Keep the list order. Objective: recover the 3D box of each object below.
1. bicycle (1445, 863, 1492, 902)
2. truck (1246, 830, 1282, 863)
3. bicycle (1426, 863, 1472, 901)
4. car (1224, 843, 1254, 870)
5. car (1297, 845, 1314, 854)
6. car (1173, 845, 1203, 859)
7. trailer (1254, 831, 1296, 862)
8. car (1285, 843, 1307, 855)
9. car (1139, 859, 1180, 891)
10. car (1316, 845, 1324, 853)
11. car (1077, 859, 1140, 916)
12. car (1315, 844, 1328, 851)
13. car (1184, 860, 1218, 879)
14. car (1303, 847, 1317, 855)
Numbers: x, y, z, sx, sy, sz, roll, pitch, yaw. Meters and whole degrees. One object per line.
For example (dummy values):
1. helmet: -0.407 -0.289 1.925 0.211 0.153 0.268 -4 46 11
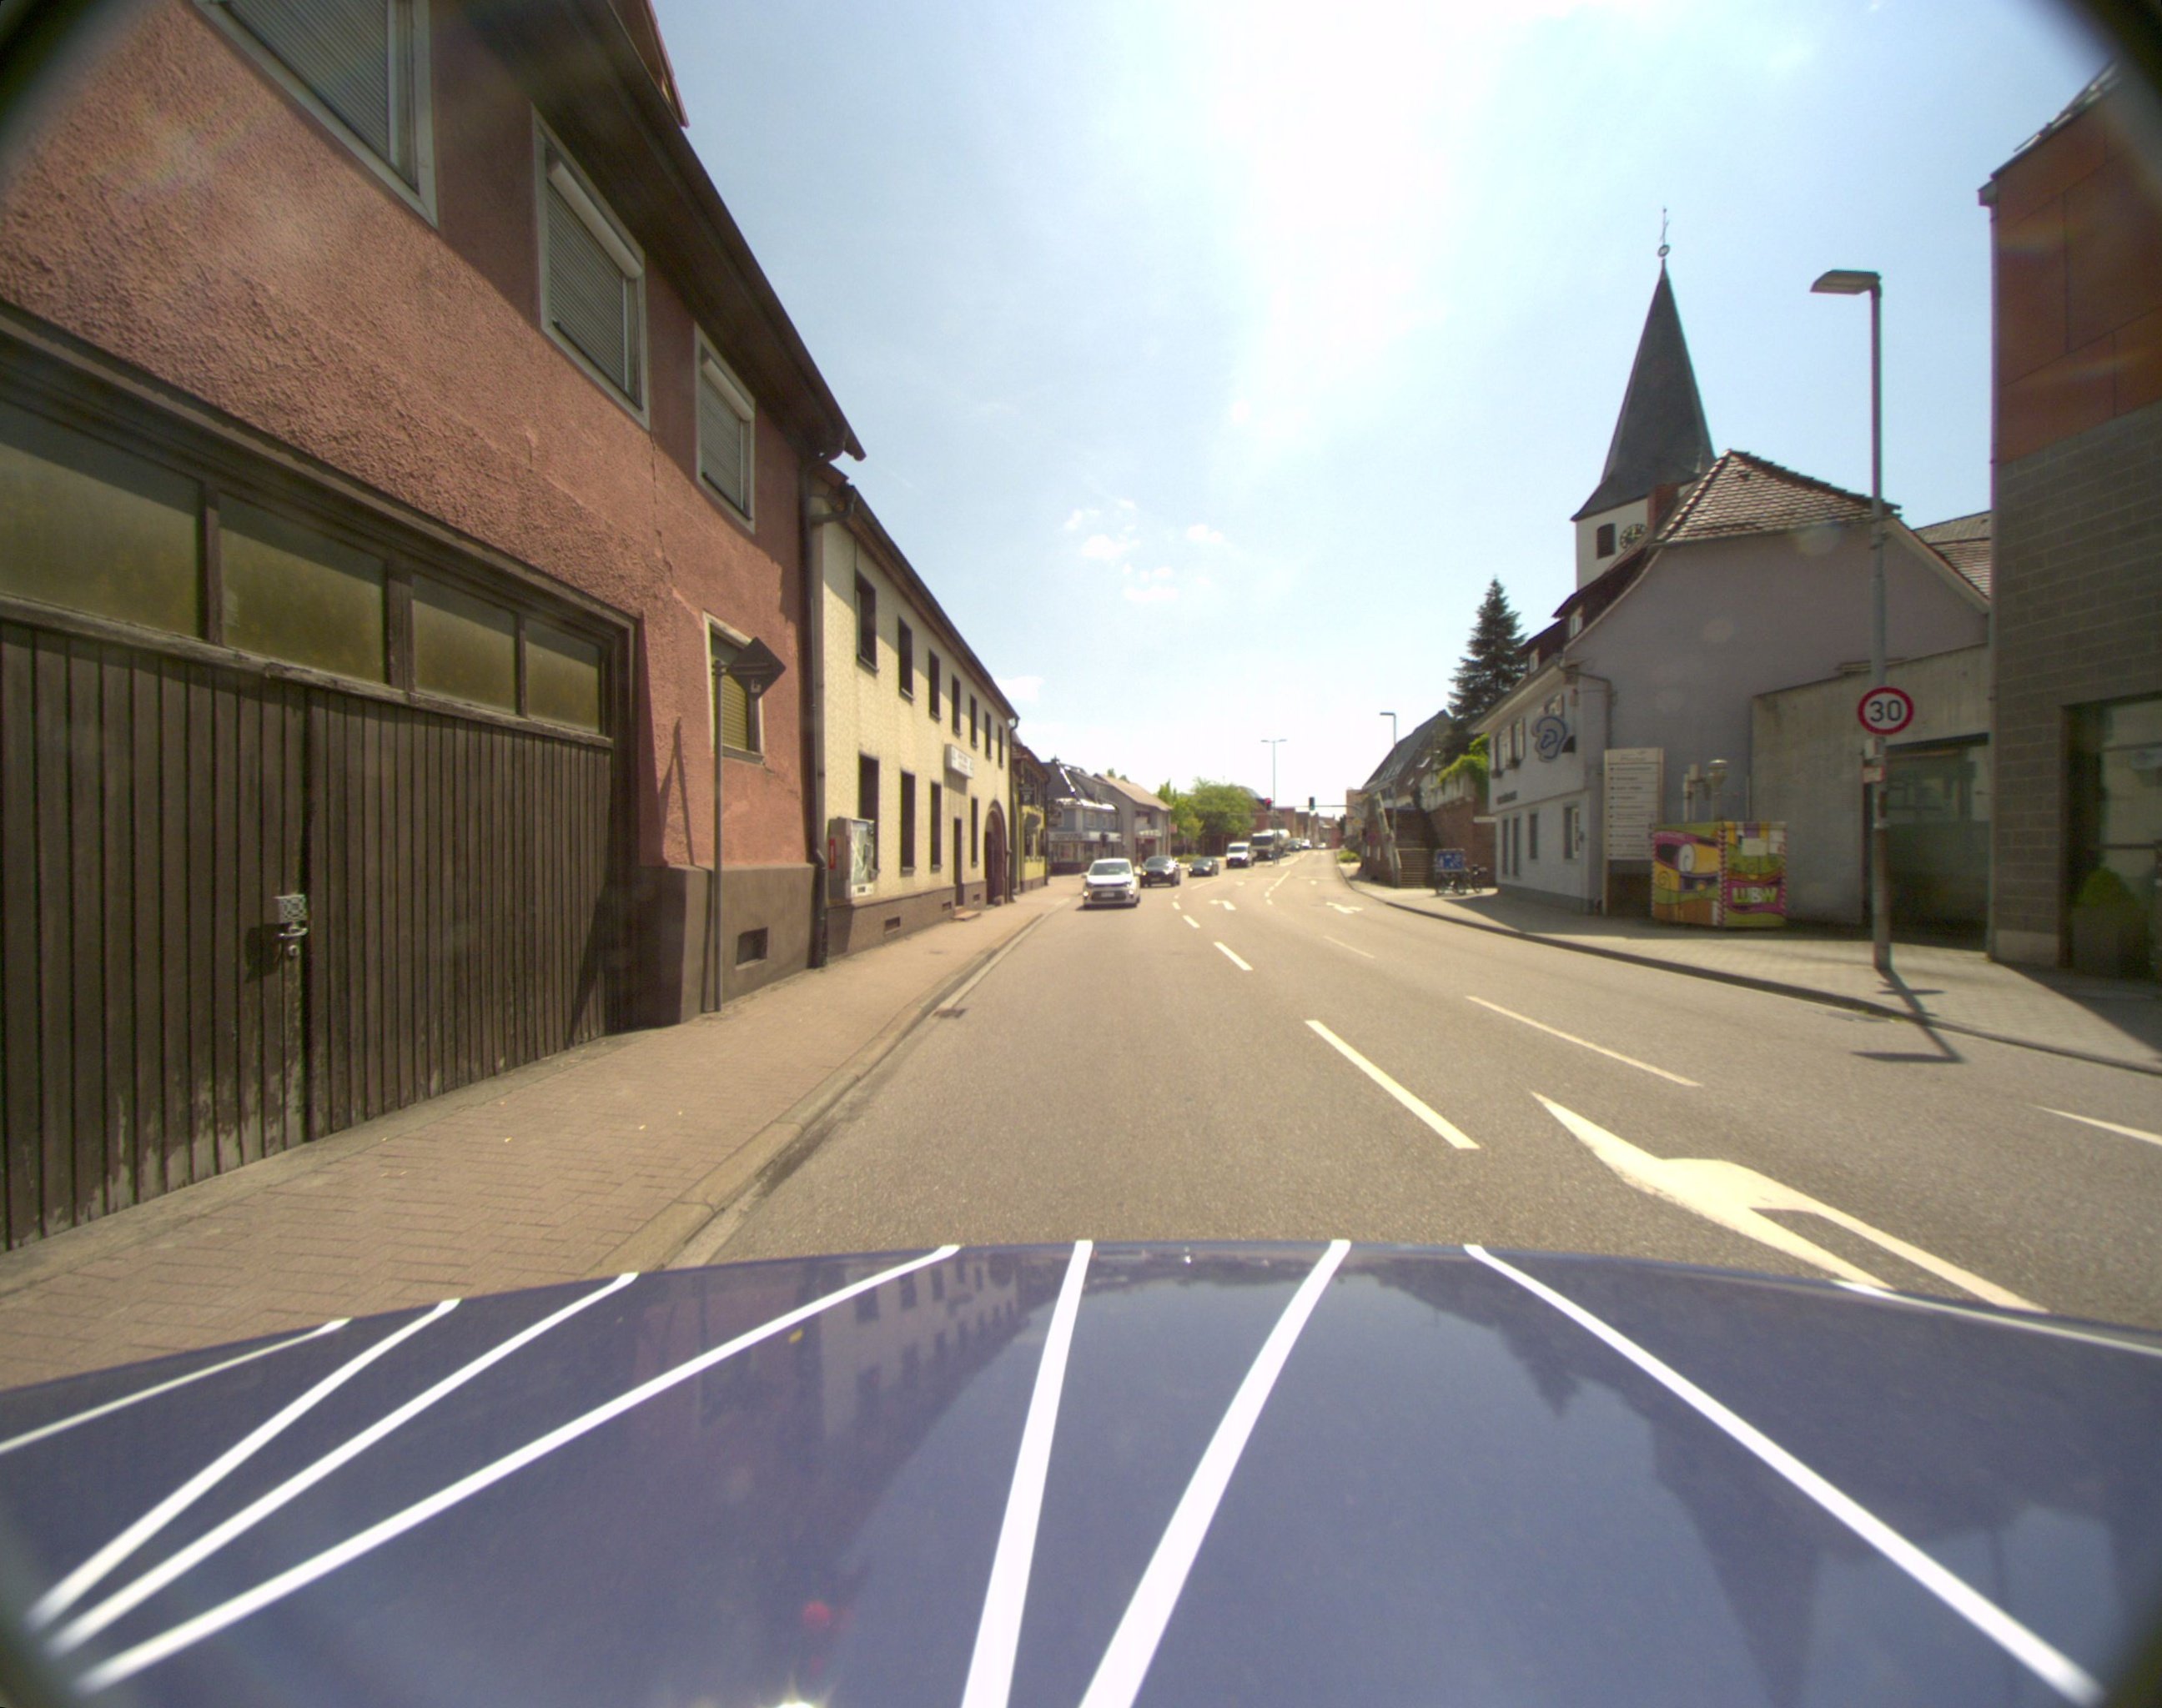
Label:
1. bicycle: 13.387 0.980 26.257 1.834 1.241 0.577 -2 -1 -35
2. truck: 20.895 -0.812 86.415 2.843 3.549 5.478 1 0 25
3. bicycle: 12.960 0.985 26.749 1.834 1.241 0.577 -2 -1 -35
4. car: 15.308 0.206 73.453 2.172 2.549 4.832 1 0 20
5. car: 40.535 -0.808 137.372 2.007 1.621 4.587 1 0 28
6. car: 14.513 -0.291 102.809 3.755 1.701 1.727 -1 1 17
7. trailer: 23.760 -0.846 92.458 2.832 3.549 10.985 1 0 25
8. car: 30.434 -0.738 107.480 2.007 1.621 4.586 0 0 28
9. car: 4.279 1.080 40.800 1.723 1.541 4.307 -1 0 12
10. car: 59.335 -1.252 188.569 1.763 1.775 4.006 -1 0 20
11. car: 0.912 0.952 23.568 1.724 1.541 4.304 -1 0 4
12. car: 55.654 -1.468 175.596 2.007 1.621 4.586 1 0 28
13. car: 9.229 1.162 58.023 1.926 1.358 4.309 -1 0 17
14. car: 45.390 -0.531 150.818 2.008 1.621 4.586 0 0 25
